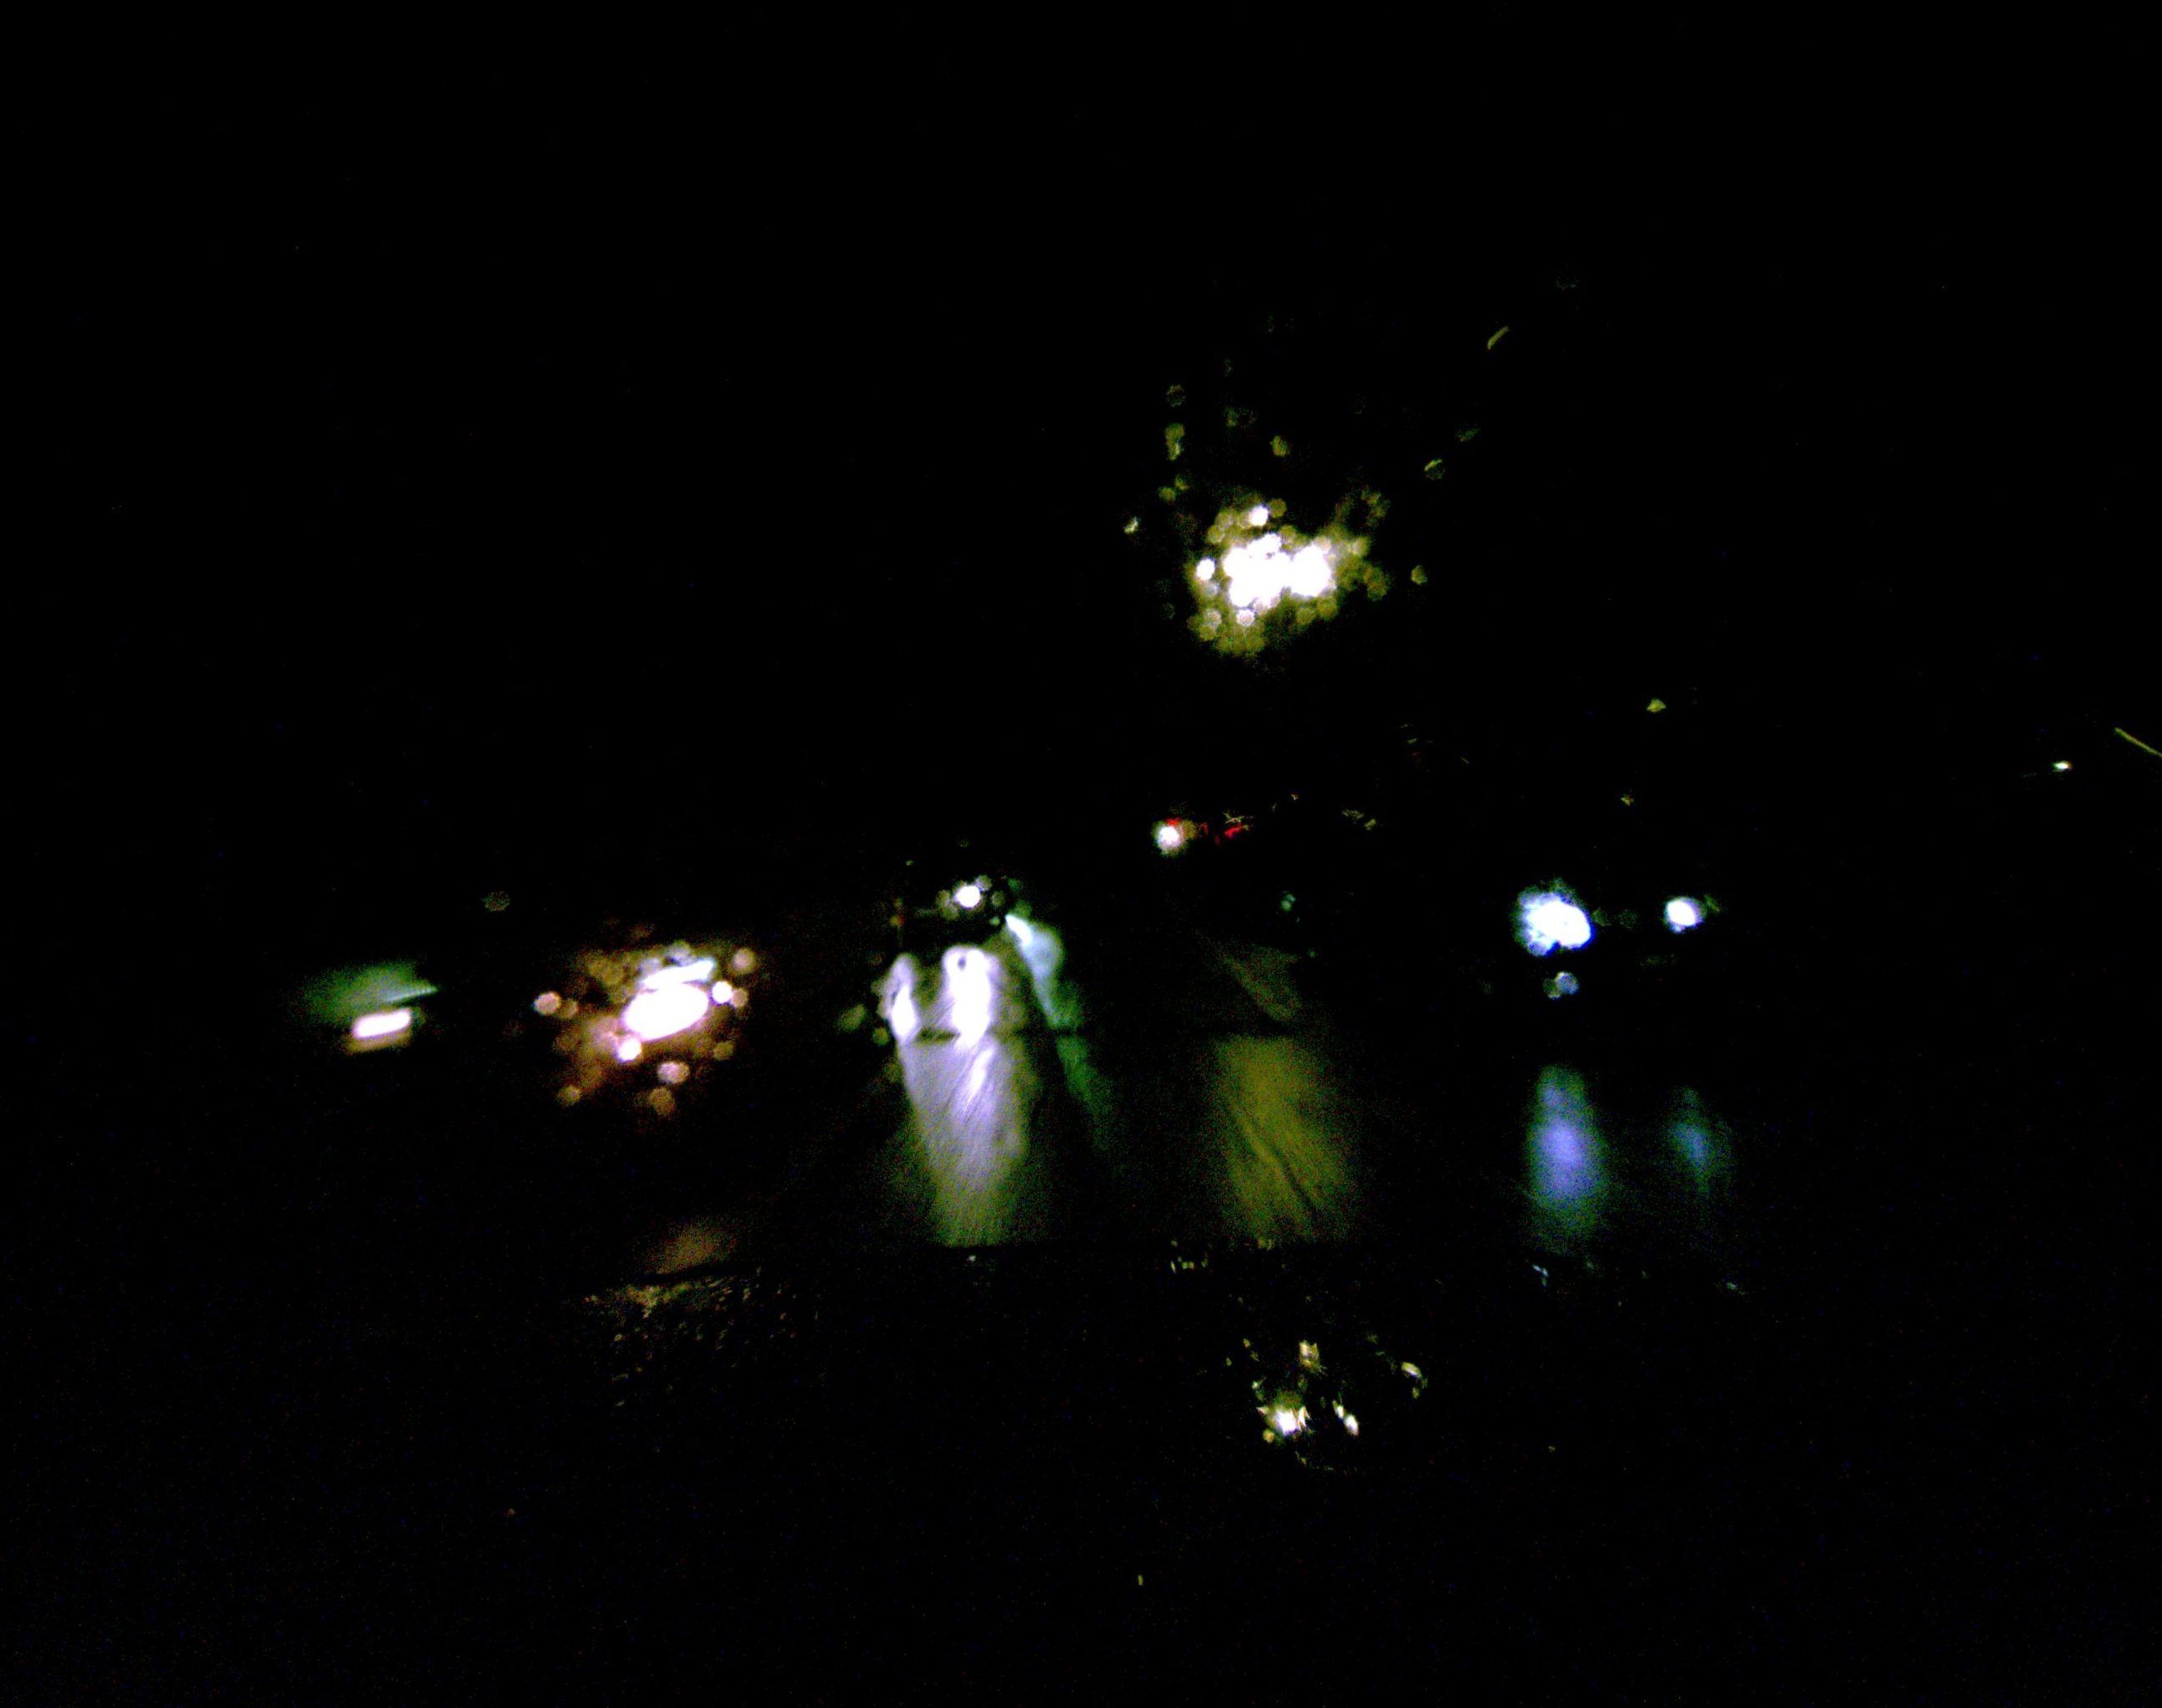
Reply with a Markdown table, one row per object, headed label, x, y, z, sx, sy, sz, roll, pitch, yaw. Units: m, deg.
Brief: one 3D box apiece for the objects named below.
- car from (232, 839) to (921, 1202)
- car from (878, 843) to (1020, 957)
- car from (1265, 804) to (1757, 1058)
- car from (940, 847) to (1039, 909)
| label | x | y | z | sx | sy | sz | roll | pitch | yaw |
| --- | --- | --- | --- | --- | --- | --- | --- | --- | --- |
| car | -2.796 | 0.718 | 5.877 | 1.878 | 1.579 | 4.888 | -3 | 1 | 2 |
| car | -2.357 | 0.738 | 14.705 | 1.794 | 1.802 | 4.198 | -3 | 1 | 2 |
| car | 3.933 | 0.549 | 8.071 | 2.000 | 1.833 | 4.519 | -3 | 1 | -13 |
| car | -2.585 | 0.622 | 22.655 | 1.998 | 1.544 | 4.694 | -2 | 1 | 4 |
